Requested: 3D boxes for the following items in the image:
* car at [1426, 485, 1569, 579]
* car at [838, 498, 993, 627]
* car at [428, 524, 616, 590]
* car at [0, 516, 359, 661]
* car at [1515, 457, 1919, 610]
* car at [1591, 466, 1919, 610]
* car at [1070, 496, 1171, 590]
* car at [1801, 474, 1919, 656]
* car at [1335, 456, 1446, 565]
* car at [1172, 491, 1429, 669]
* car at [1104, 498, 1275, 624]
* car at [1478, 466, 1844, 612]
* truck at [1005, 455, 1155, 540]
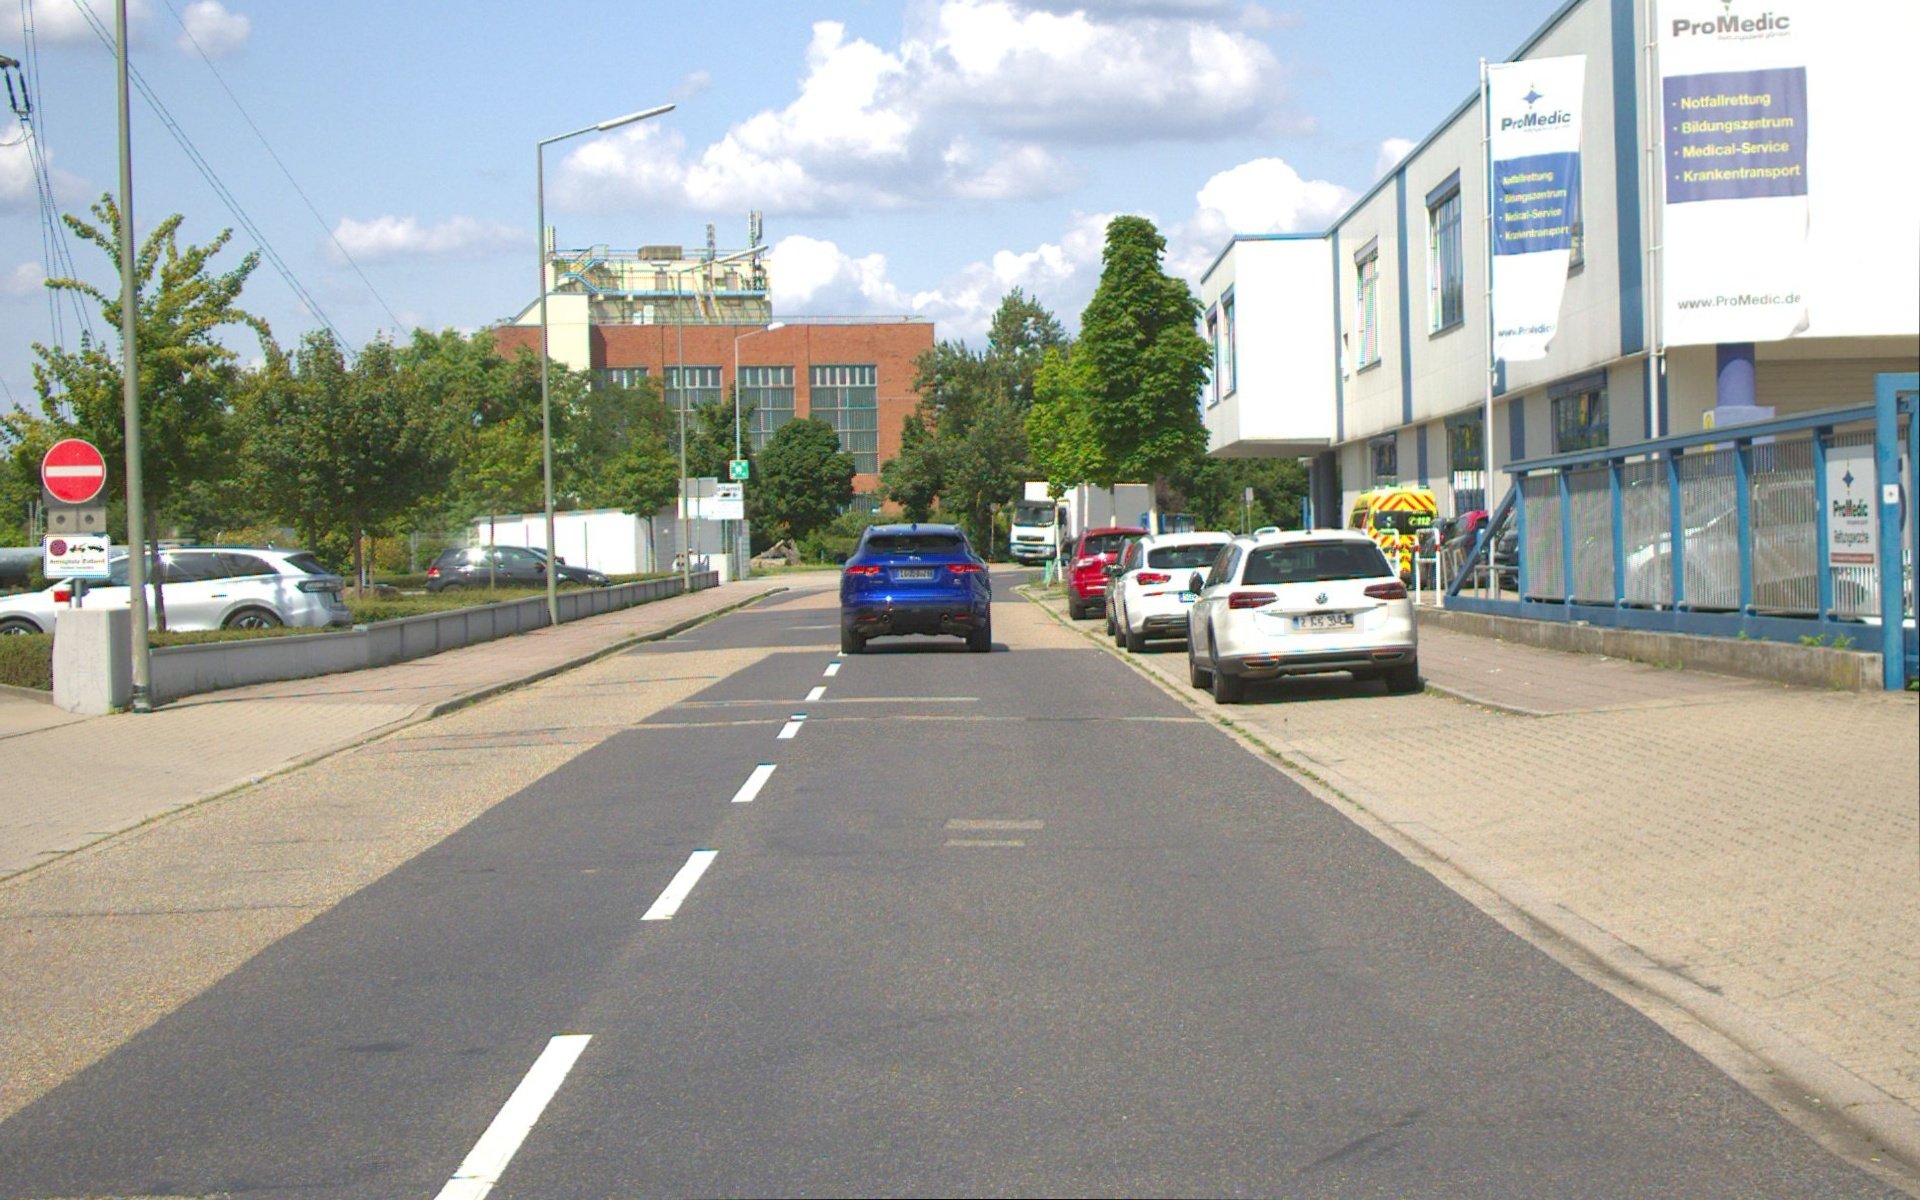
[{"bbox_3d":[10.144,-1.262,65.183,1.993,1.651,4.290,-1,0,0],"label":"car"},{"bbox_3d":[-0.587,-0.512,45.298,1.909,1.588,4.702,-1,1,-1],"label":"car"},{"bbox_3d":[-9.875,-0.977,77.776,3.987,1.371,1.804,-1,1,0],"label":"car"},{"bbox_3d":[-10.179,-0.151,43.668,4.754,1.597,2.000,-3,1,-3],"label":"car"},{"bbox_3d":[8.798,-0.779,40.144,4.225,1.641,2.148,-1,1,-1],"label":"car"},{"bbox_3d":[9.182,-0.705,37.306,4.279,1.415,2.000,-2,2,1],"label":"car"},{"bbox_3d":[2.923,-1.048,63.390,1.755,1.645,4.677,-1,1,2],"label":"car"},{"bbox_3d":[9.117,-0.363,28.063,3.987,1.415,2.000,-2,2,1],"label":"car"},{"bbox_3d":[10.086,-2.094,80.905,1.924,2.455,5.260,-1,1,0],"label":"car"},{"bbox_3d":[3.092,-0.213,32.072,1.867,1.515,4.598,-1,1,-1],"label":"car"},{"bbox_3d":[2.919,-0.520,44.517,1.835,1.515,4.462,-1,1,-1],"label":"car"},{"bbox_3d":[8.659,-0.770,42.723,4.083,1.680,2.000,-1,1,-1],"label":"car"},{"bbox_3d":[5.302,-4.523,149.615,2.325,3.555,9.352,1,3,30],"label":"truck"}]
